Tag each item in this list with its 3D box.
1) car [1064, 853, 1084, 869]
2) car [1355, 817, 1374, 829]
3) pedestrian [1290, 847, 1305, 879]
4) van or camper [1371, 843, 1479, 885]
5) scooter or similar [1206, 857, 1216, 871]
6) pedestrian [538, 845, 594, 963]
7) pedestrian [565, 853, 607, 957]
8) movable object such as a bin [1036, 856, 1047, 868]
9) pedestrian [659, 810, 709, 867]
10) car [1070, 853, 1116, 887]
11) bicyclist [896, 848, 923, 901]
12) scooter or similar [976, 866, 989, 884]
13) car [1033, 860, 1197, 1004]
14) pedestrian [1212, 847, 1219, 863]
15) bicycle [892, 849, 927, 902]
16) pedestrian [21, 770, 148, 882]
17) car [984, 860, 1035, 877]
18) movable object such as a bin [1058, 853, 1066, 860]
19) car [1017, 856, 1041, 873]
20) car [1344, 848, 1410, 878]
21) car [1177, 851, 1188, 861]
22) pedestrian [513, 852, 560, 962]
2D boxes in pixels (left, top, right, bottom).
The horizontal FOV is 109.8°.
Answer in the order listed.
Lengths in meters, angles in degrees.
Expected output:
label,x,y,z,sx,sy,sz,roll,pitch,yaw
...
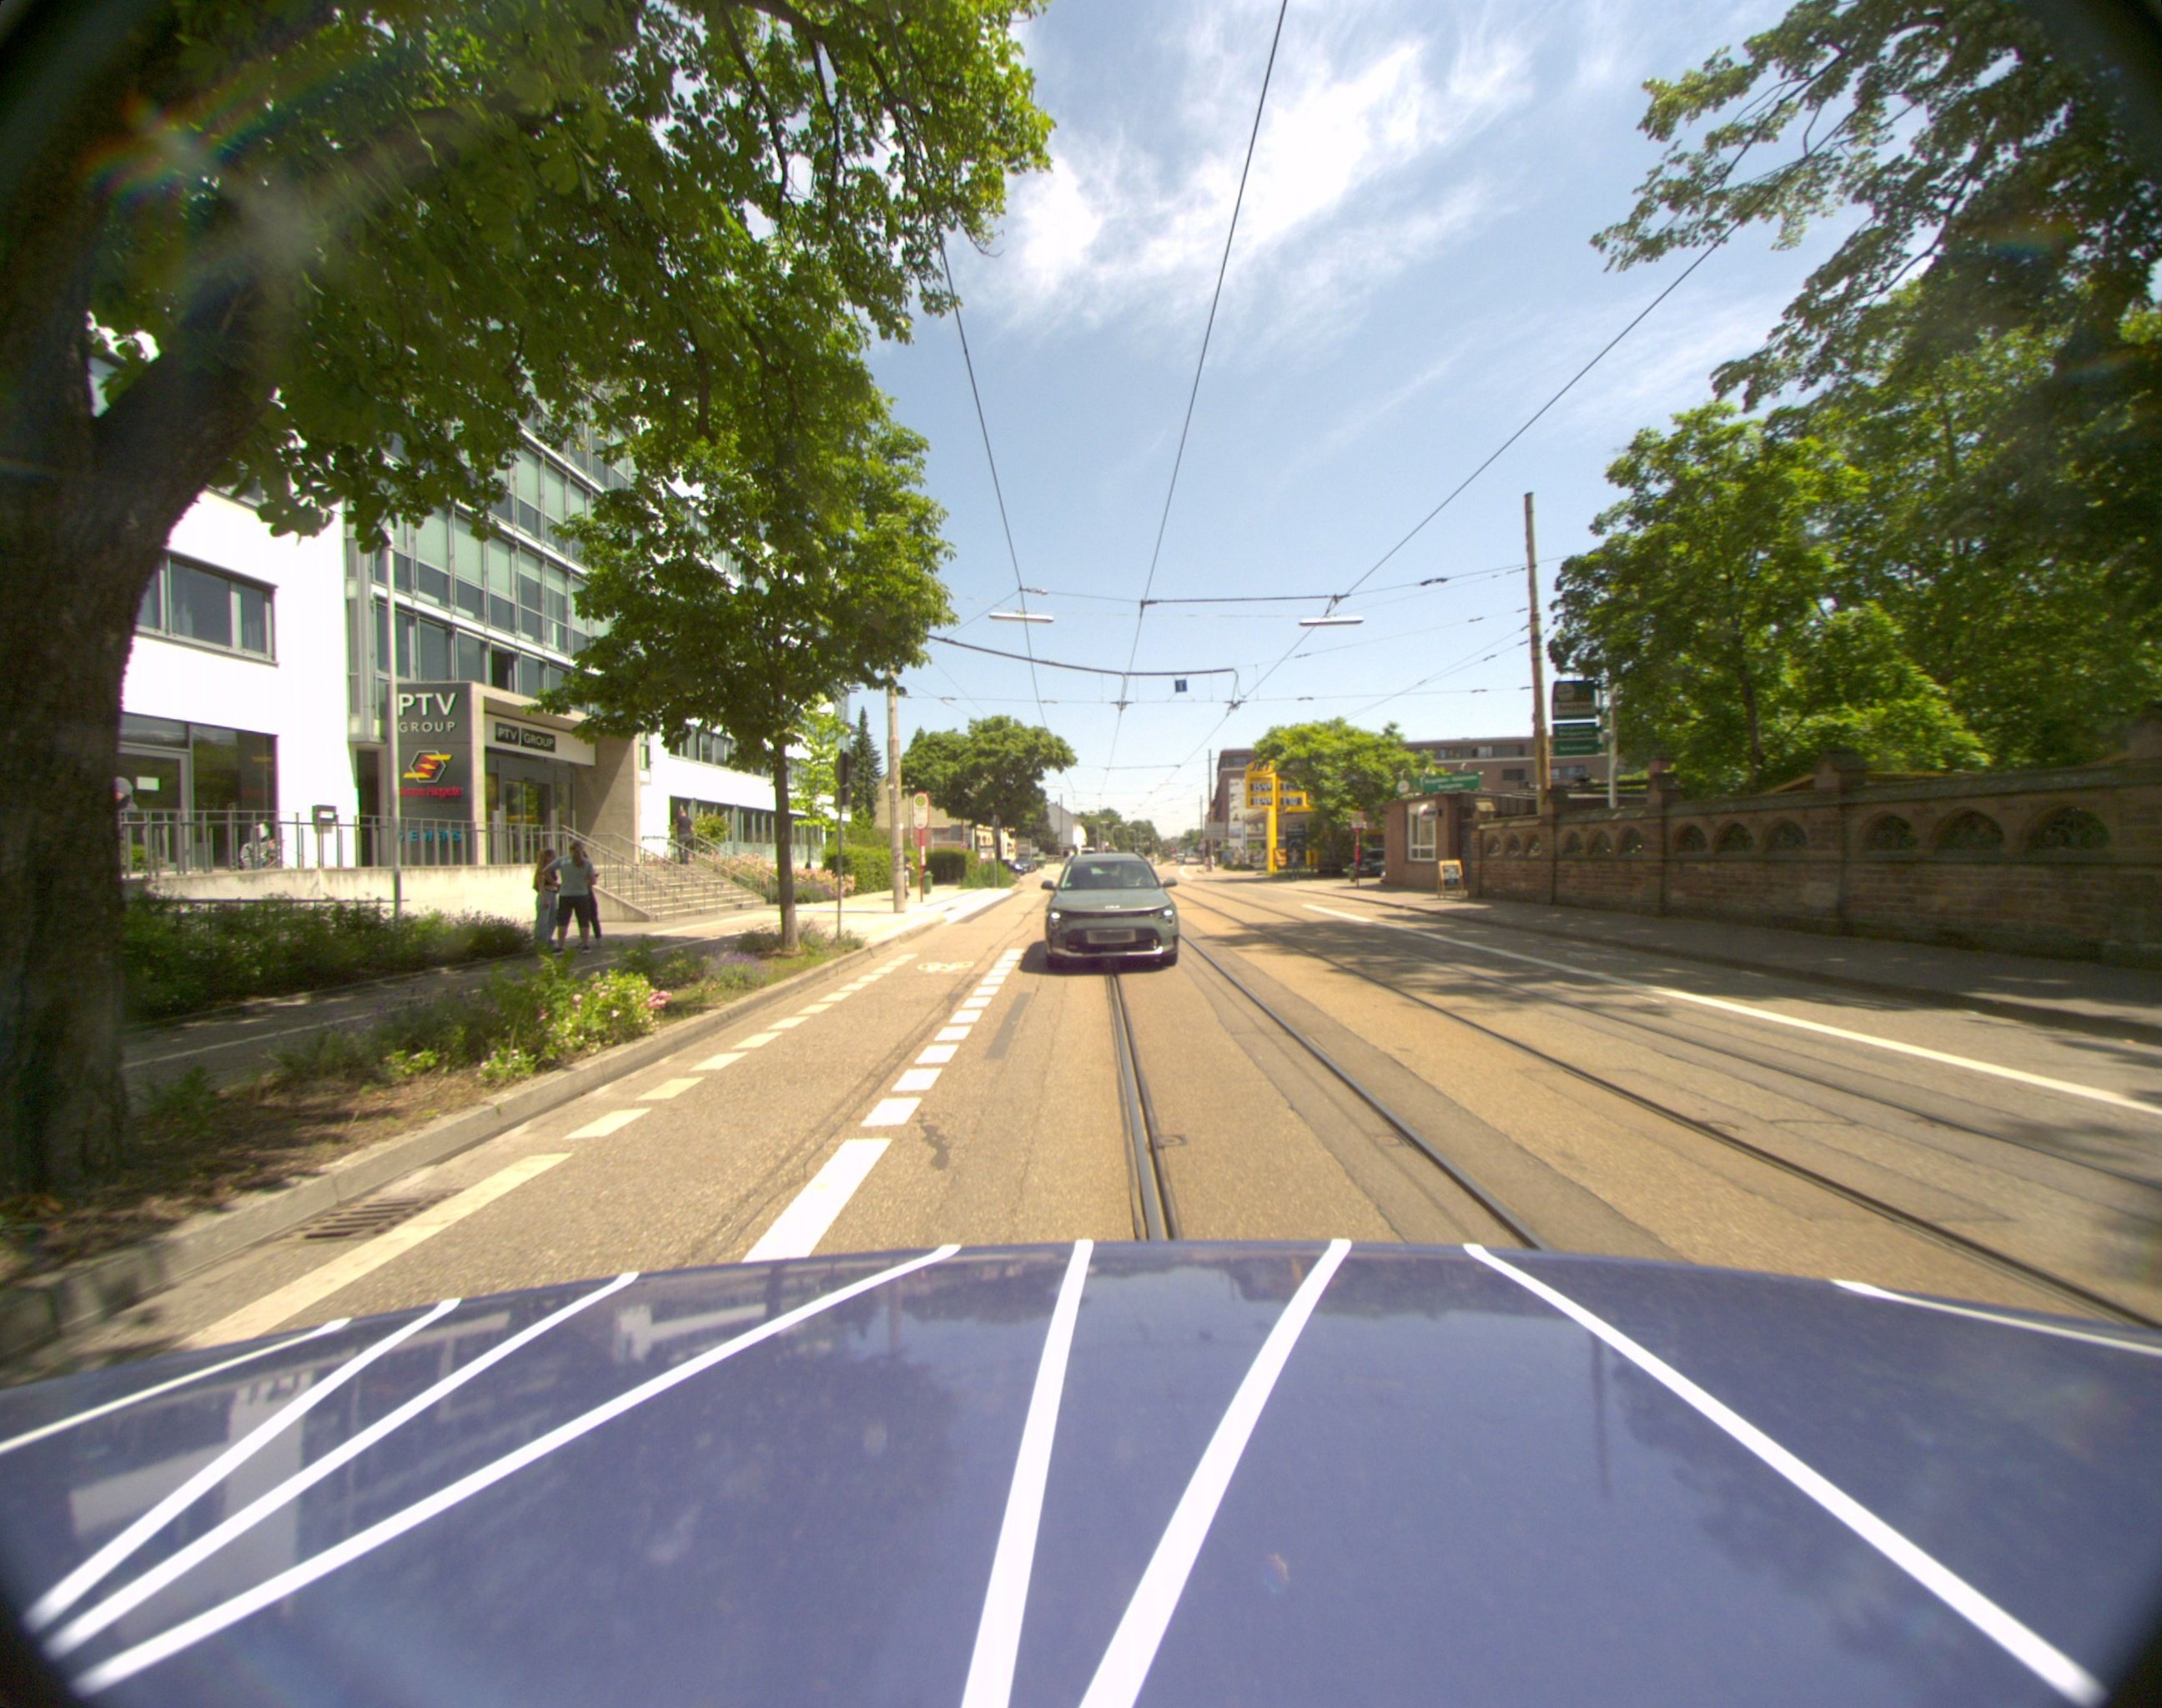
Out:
label,x,y,z,sx,sy,sz,roll,pitch,yaw
car,-0.695,0.697,80.174,1.748,1.546,4.488,-2,0,3
car,37.300,-4.057,100.098,1.734,1.460,4.004,-2,0,13
pedestrian,12.216,0.507,42.950,0.581,1.765,0.699,-2,0,-2
van or camper,14.869,0.425,33.017,3.793,1.619,1.872,-2,-1,1
scooter or similar,11.784,0.919,68.899,0.520,1.193,1.376,-2,0,-2
pedestrian,-8.093,0.763,11.972,0.681,1.786,0.673,0,1,-30
pedestrian,-8.320,0.836,12.780,0.539,1.705,0.564,0,1,-28
movable object such as a bin,-4.935,0.949,95.453,1.327,1.446,1.057,1,0,-2
pedestrian,-12.163,-0.470,23.277,0.874,1.705,1.092,2,1,36
car,0.670,0.758,37.807,1.748,1.546,4.489,-2,0,7
bicyclist,-5.955,0.708,26.452,0.698,1.789,0.888,1,1,4
scooter or similar,-6.914,1.457,53.398,0.326,1.215,1.153,-2,0,22
car,0.370,0.905,10.900,1.827,1.546,4.487,-2,0,0
pedestrian,14.052,0.074,79.565,0.626,1.681,0.723,-1,0,15
bicycle,-5.953,0.719,26.416,0.691,1.775,1.811,1,1,4
pedestrian,-15.934,-0.439,12.177,0.880,1.706,0.808,-2,0,0
car,-5.903,1.208,62.745,3.917,1.364,1.706,0,1,25
movable object such as a bin,-4.174,0.466,167.029,1.389,1.472,1.152,-1,0,9
car,-5.432,1.059,80.196,1.929,1.683,5.082,1,0,2
car,16.411,0.470,42.014,1.930,1.480,4.460,-2,0,41
car,21.000,0.382,156.980,1.997,1.789,4.555,-2,1,9
pedestrian,-8.753,0.828,12.238,0.539,1.705,0.564,0,1,-28
